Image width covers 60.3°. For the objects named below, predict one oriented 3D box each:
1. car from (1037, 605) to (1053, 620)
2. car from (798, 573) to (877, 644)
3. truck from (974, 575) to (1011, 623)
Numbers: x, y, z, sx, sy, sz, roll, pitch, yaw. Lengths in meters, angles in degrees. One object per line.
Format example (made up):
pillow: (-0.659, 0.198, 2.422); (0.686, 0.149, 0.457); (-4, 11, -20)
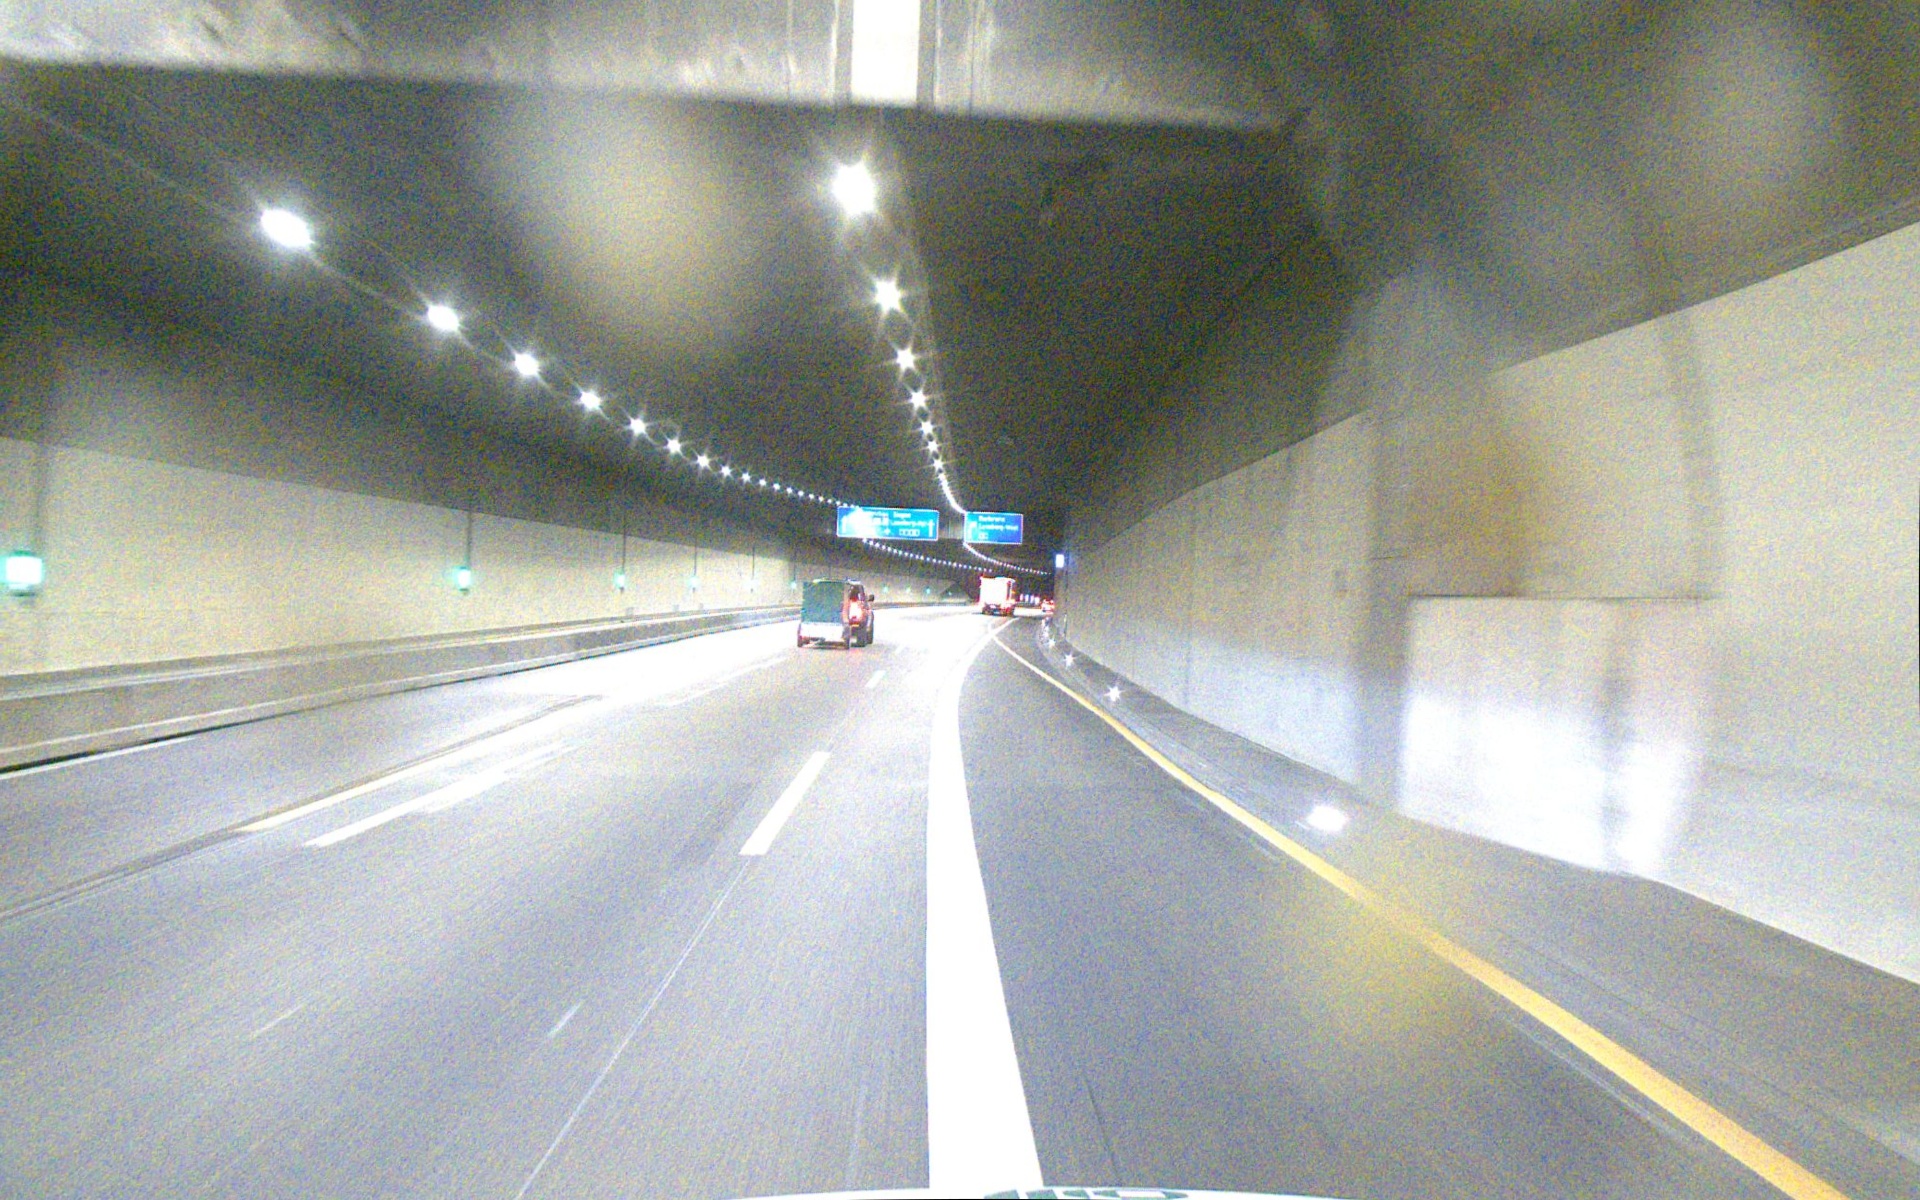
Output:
car: (11.508, 1.717, 223.626); (1.951, 1.928, 5.535); (1, 0, 4)
car: (-3.658, 0.314, 50.271); (1.953, 1.928, 5.452); (1, -2, 0)
truck: (3.261, -0.101, 163.642); (3.402, 4.391, 10.954); (3, 0, 2)
